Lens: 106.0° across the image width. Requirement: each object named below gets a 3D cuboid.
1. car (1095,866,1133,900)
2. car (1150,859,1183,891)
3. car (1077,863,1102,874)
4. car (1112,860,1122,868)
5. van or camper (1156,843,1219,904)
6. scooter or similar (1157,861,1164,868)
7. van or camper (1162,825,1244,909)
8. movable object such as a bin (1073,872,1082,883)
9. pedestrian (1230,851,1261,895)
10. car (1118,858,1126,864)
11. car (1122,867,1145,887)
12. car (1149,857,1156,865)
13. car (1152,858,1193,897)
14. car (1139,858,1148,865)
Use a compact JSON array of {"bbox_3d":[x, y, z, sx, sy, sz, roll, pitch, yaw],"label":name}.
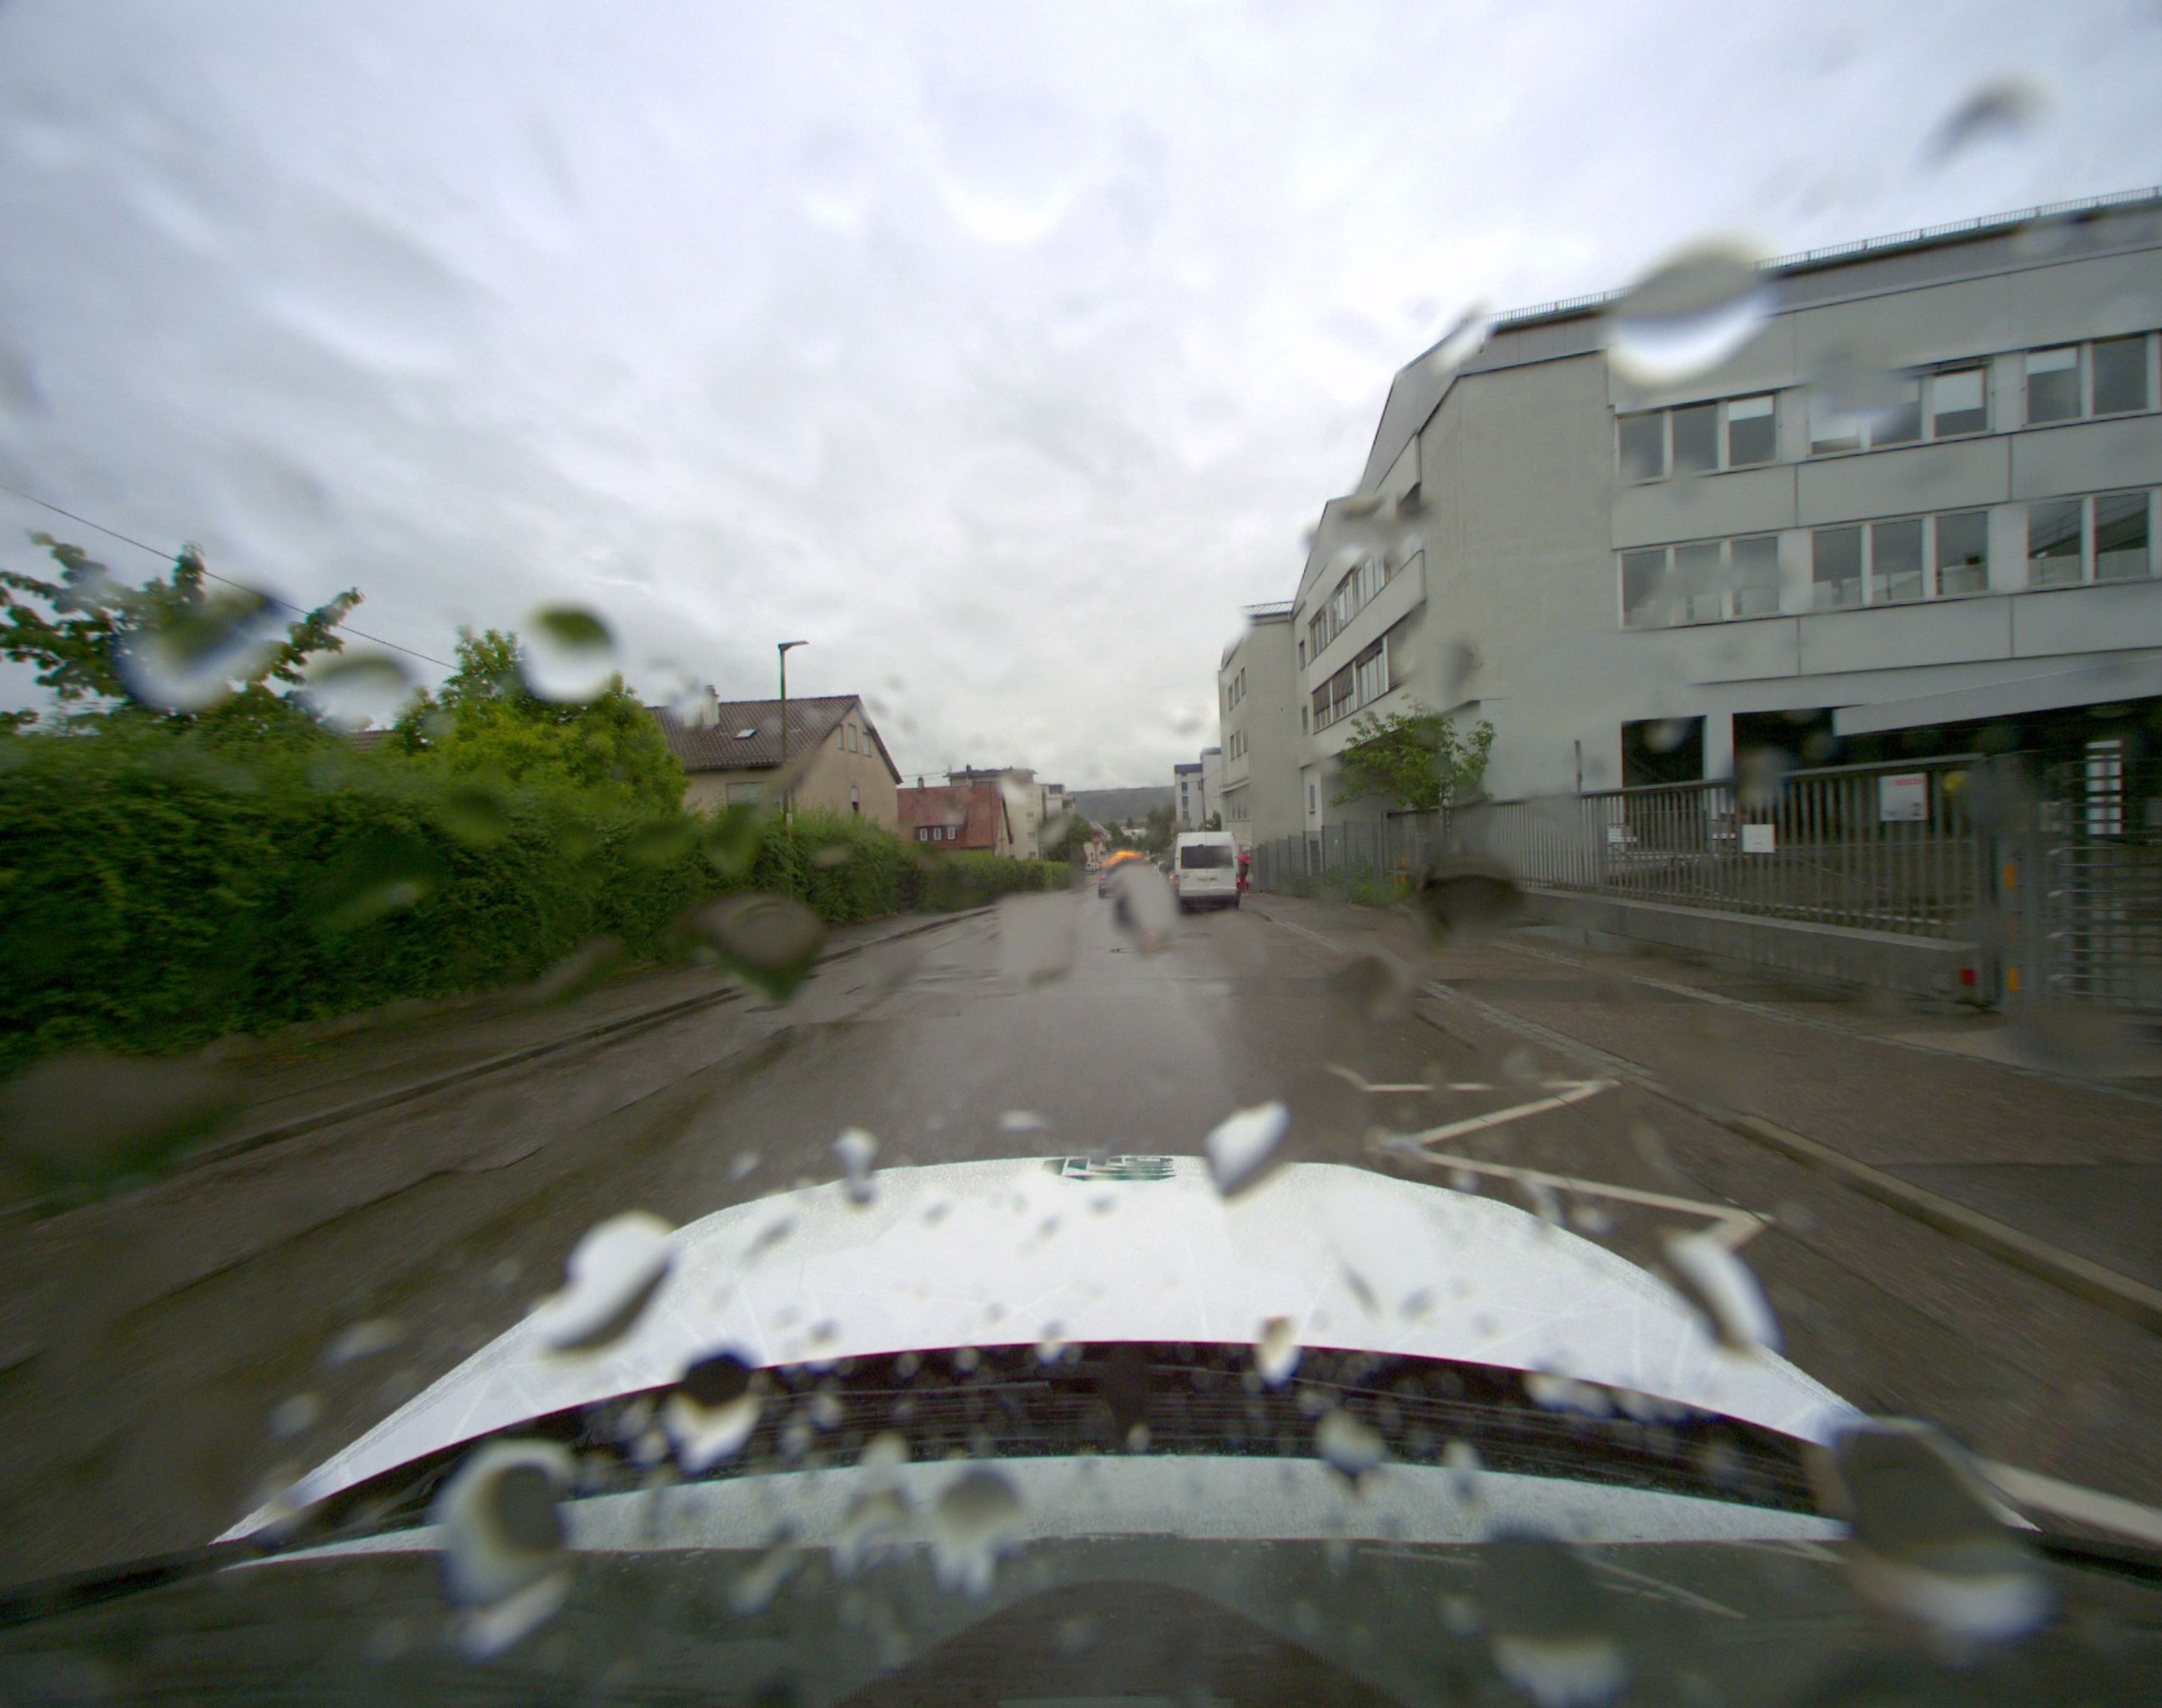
[{"bbox_3d":[1.912,1.625,46.744,1.986,1.684,4.003,-4,0,2],"label":"car"},{"bbox_3d":[5.321,1.319,51.267,1.869,1.834,4.494,-3,-1,4],"label":"car"},{"bbox_3d":[1.833,2.939,168.301,4.864,1.835,1.979,-4,0,-34],"label":"car"},{"bbox_3d":[8.234,2.195,188.143,1.984,1.625,4.197,-4,0,5],"label":"car"},{"bbox_3d":[4.116,0.741,32.266,1.985,2.113,5.207,-4,-1,3],"label":"van or camper"},{"bbox_3d":[15.450,2.036,158.243,1.264,1.081,0.876,-4,0,0],"label":"scooter or similar"},{"bbox_3d":[3.704,0.414,25.717,1.985,2.243,5.446,-4,-1,4],"label":"van or camper"},{"bbox_3d":[-0.467,3.096,108.163,1.067,1.347,1.319,-1,-1,2],"label":"movable object such as a bin"},{"bbox_3d":[6.913,0.782,34.289,1.020,1.758,1.031,-4,0,1],"label":"pedestrian"},{"bbox_3d":[11.290,1.886,224.530,1.892,1.558,4.197,-4,0,5],"label":"car"},{"bbox_3d":[5.032,2.205,78.259,1.986,1.684,4.003,-4,0,2],"label":"car"},{"bbox_3d":[19.682,1.909,223.340,1.892,1.745,4.197,-4,0,5],"label":"car"},{"bbox_3d":[5.051,1.299,45.555,1.984,1.935,4.981,-3,-1,4],"label":"car"},{"bbox_3d":[15.474,1.832,201.497,2.136,1.589,4.133,-4,0,5],"label":"car"}]
